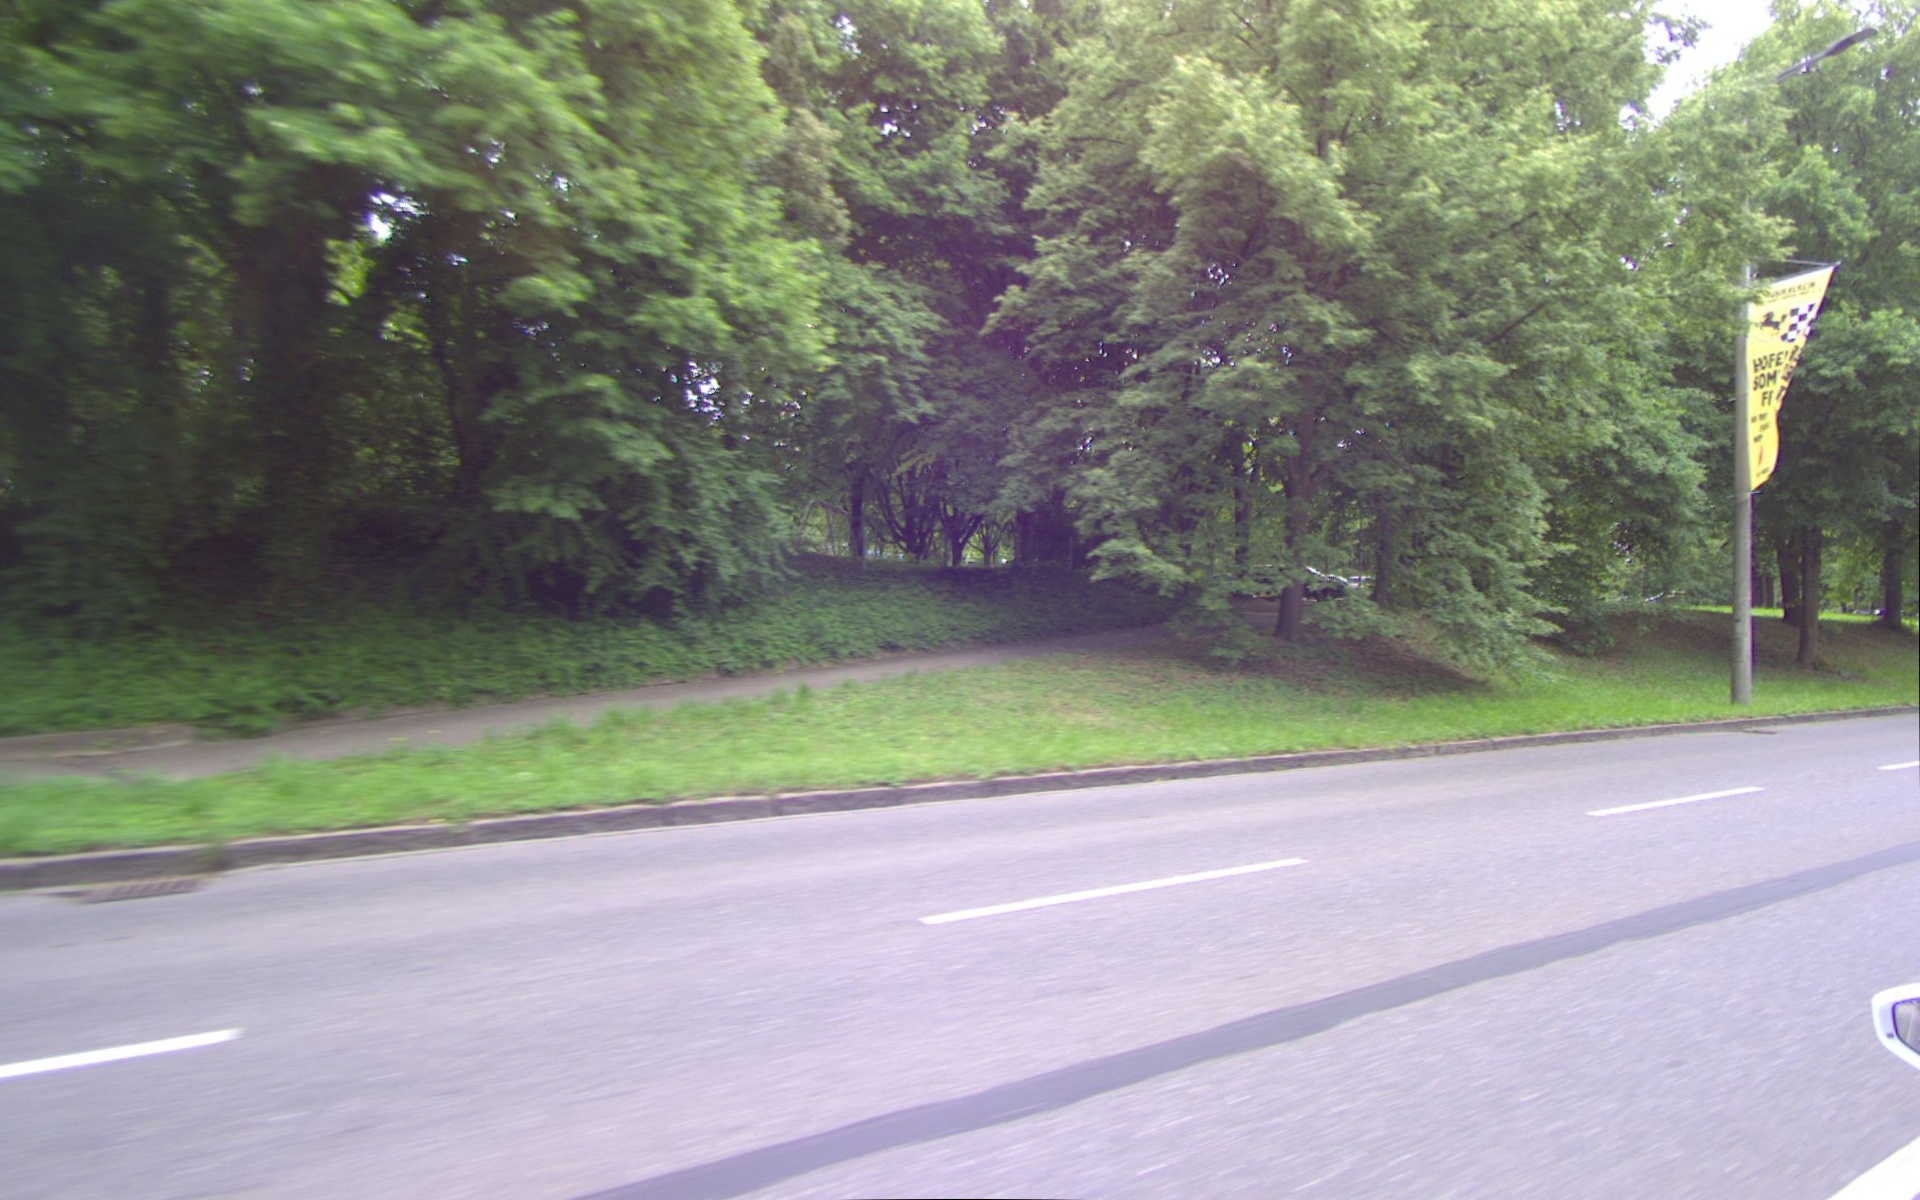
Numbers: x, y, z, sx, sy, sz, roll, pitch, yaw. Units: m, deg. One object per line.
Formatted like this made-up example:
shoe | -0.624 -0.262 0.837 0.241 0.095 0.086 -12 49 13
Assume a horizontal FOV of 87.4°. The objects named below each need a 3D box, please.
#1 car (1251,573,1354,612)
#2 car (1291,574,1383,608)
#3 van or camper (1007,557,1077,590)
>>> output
car | 18.279 -0.416 53.681 4.821 1.921 1.995 2 0 33
car | 22.796 -0.540 60.766 4.821 1.921 2.315 2 0 33
van or camper | 5.324 -1.759 65.647 4.158 2.040 1.916 2 0 40
